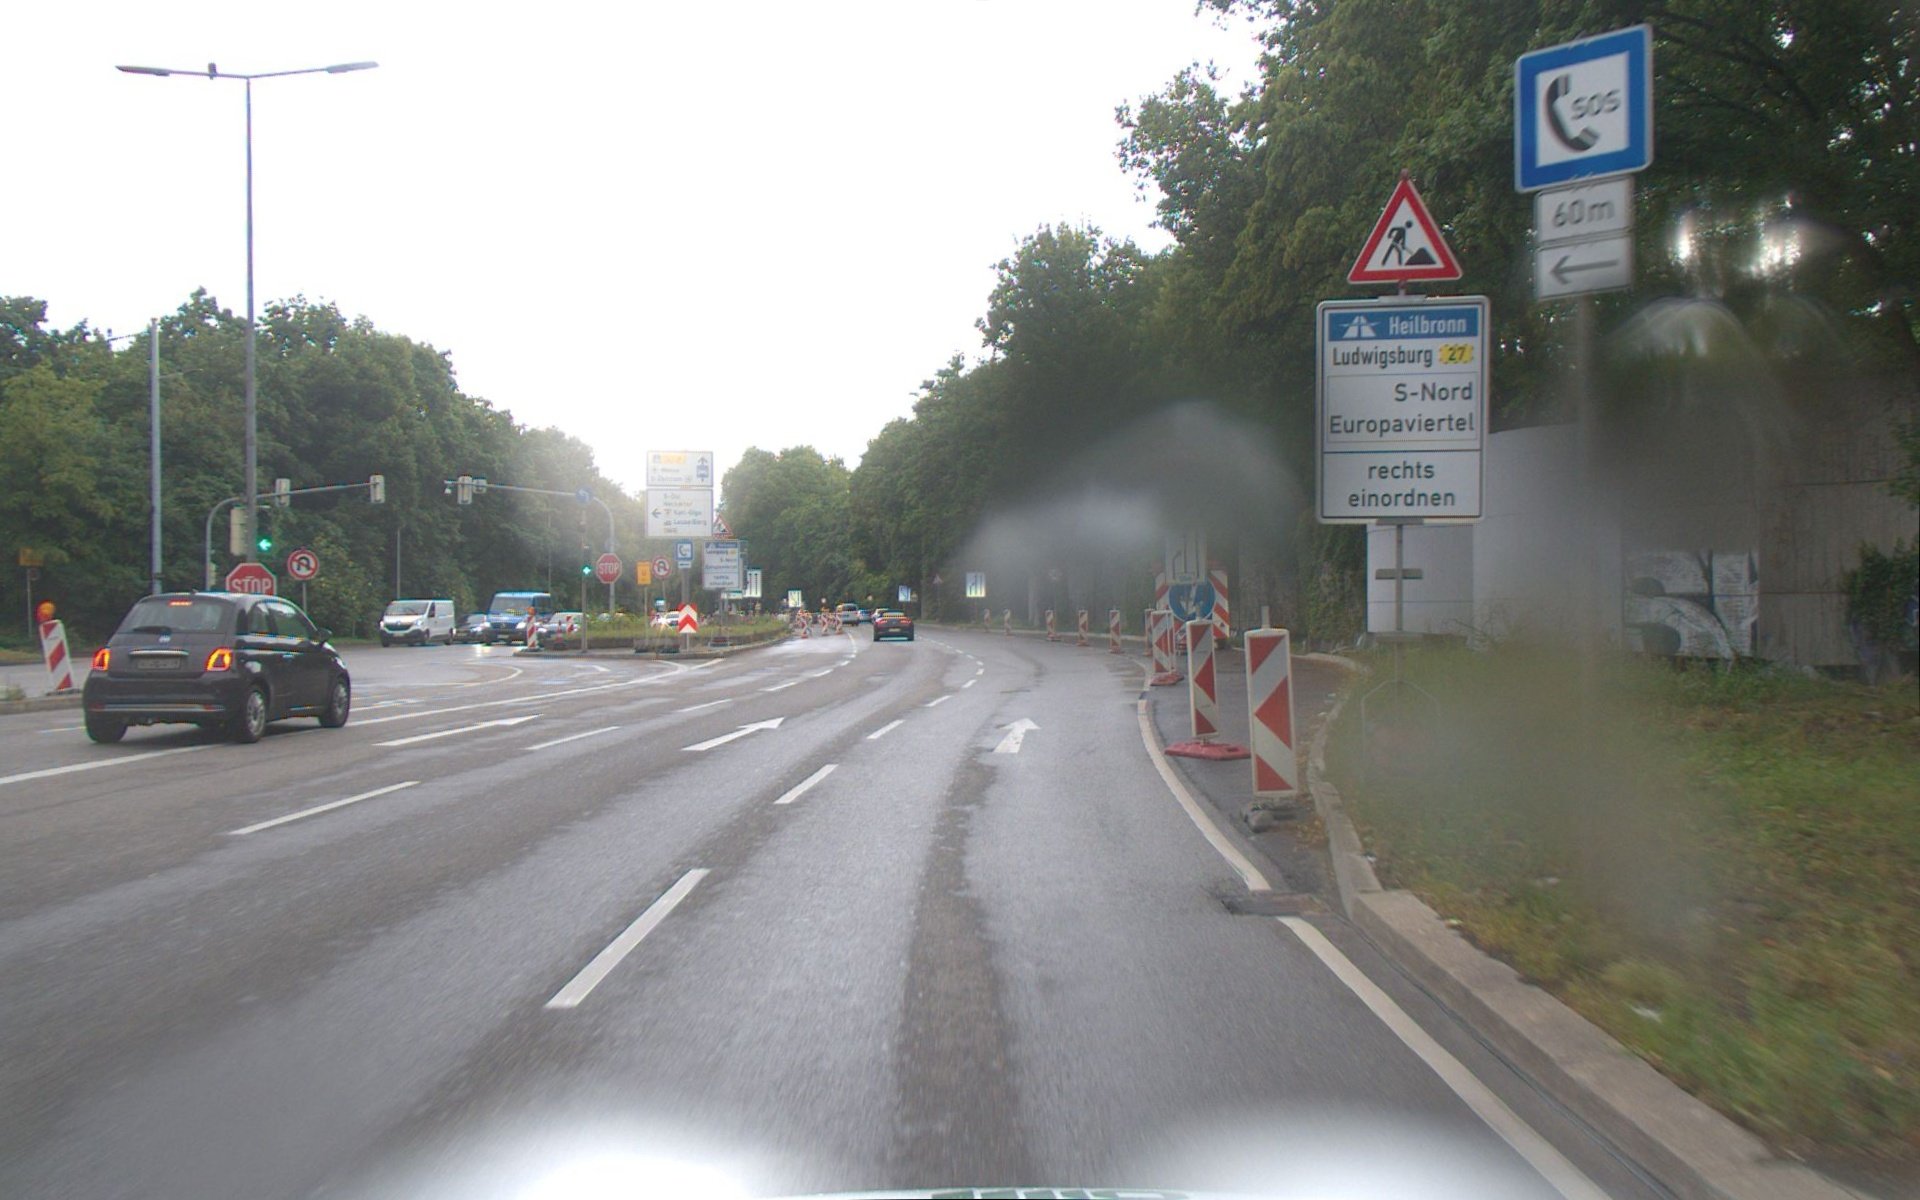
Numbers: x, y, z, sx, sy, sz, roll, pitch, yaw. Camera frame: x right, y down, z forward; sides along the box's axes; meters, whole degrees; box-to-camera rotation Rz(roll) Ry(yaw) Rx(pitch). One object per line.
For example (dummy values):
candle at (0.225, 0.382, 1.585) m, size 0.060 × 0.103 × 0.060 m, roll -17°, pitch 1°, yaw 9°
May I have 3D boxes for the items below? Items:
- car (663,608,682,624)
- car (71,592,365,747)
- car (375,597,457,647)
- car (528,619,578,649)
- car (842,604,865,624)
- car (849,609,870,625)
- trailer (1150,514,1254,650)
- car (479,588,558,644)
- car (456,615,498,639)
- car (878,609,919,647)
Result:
car at (-34.357, 1.908, 198.007) m, size 1.877 × 1.812 × 4.827 m, roll -1°, pitch 0°, yaw -6°
car at (-7.660, 0.667, 17.425) m, size 1.554 × 1.466 × 3.503 m, roll 0°, pitch 0°, yaw -1°
car at (-23.155, 0.895, 70.602) m, size 1.994 × 2.009 × 4.988 m, roll 0°, pitch 0°, yaw -2°
car at (-17.267, 1.424, 70.316) m, size 1.519 × 1.221 × 4.638 m, roll -1°, pitch -1°, yaw -7°
car at (-7.041, 0.939, 109.676) m, size 1.361 × 1.255 × 3.082 m, roll 1°, pitch 0°, yaw -1°
car at (-10.862, 1.802, 178.806) m, size 1.828 × 1.517 × 3.992 m, roll 0°, pitch 2°, yaw -10°
trailer at (7.017, -0.480, 48.625) m, size 2.260 × 3.652 × 5.961 m, roll -2°, pitch -1°, yaw 2°
car at (-20.071, 0.659, 75.438) m, size 2.151 × 2.432 × 6.241 m, roll 0°, pitch 0°, yaw -2°
car at (-22.824, 1.271, 78.216) m, size 1.244 × 1.104 × 2.792 m, roll 0°, pitch 0°, yaw -2°
car at (-2.780, 1.258, 75.778) m, size 1.824 × 1.517 × 3.999 m, roll 0°, pitch 2°, yaw -2°
